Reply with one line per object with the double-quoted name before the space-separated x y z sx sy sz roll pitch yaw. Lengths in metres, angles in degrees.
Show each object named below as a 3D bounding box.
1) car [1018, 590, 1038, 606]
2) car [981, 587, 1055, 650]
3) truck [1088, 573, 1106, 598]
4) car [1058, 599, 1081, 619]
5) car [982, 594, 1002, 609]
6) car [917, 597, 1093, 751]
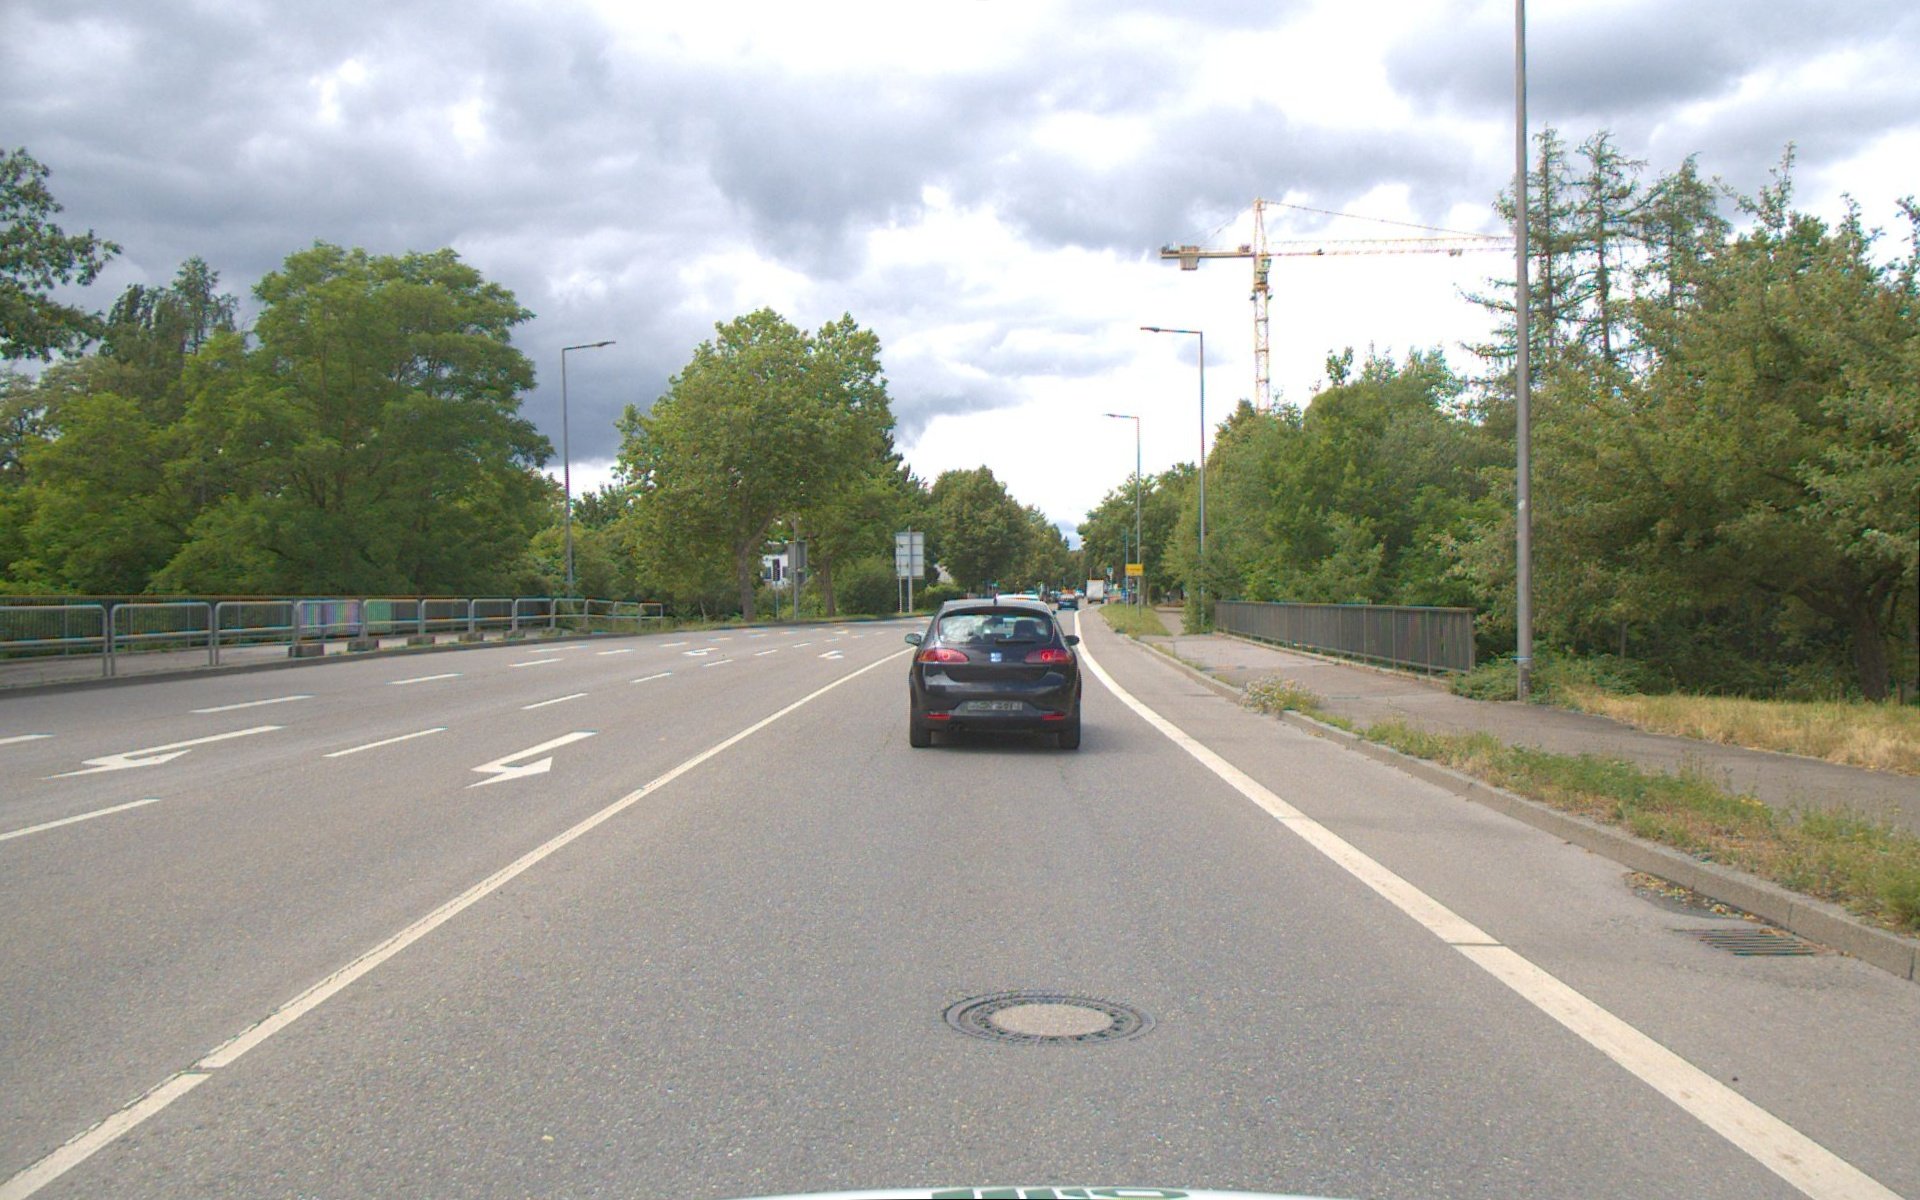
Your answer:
"car" 8.443 -0.236 205.549 2.055 1.929 5.788 -3 0 6
"car" 1.532 0.466 42.797 1.807 1.536 3.813 1 0 3
"truck" 18.373 -1.914 221.762 2.231 3.158 8.516 1 0 6
"car" 9.928 0.825 149.449 1.841 1.718 4.216 -1 0 6
"car" 3.438 0.159 177.076 1.682 1.419 4.804 -3 0 6
"car" 0.485 0.692 17.417 1.628 1.426 3.813 1 0 2
